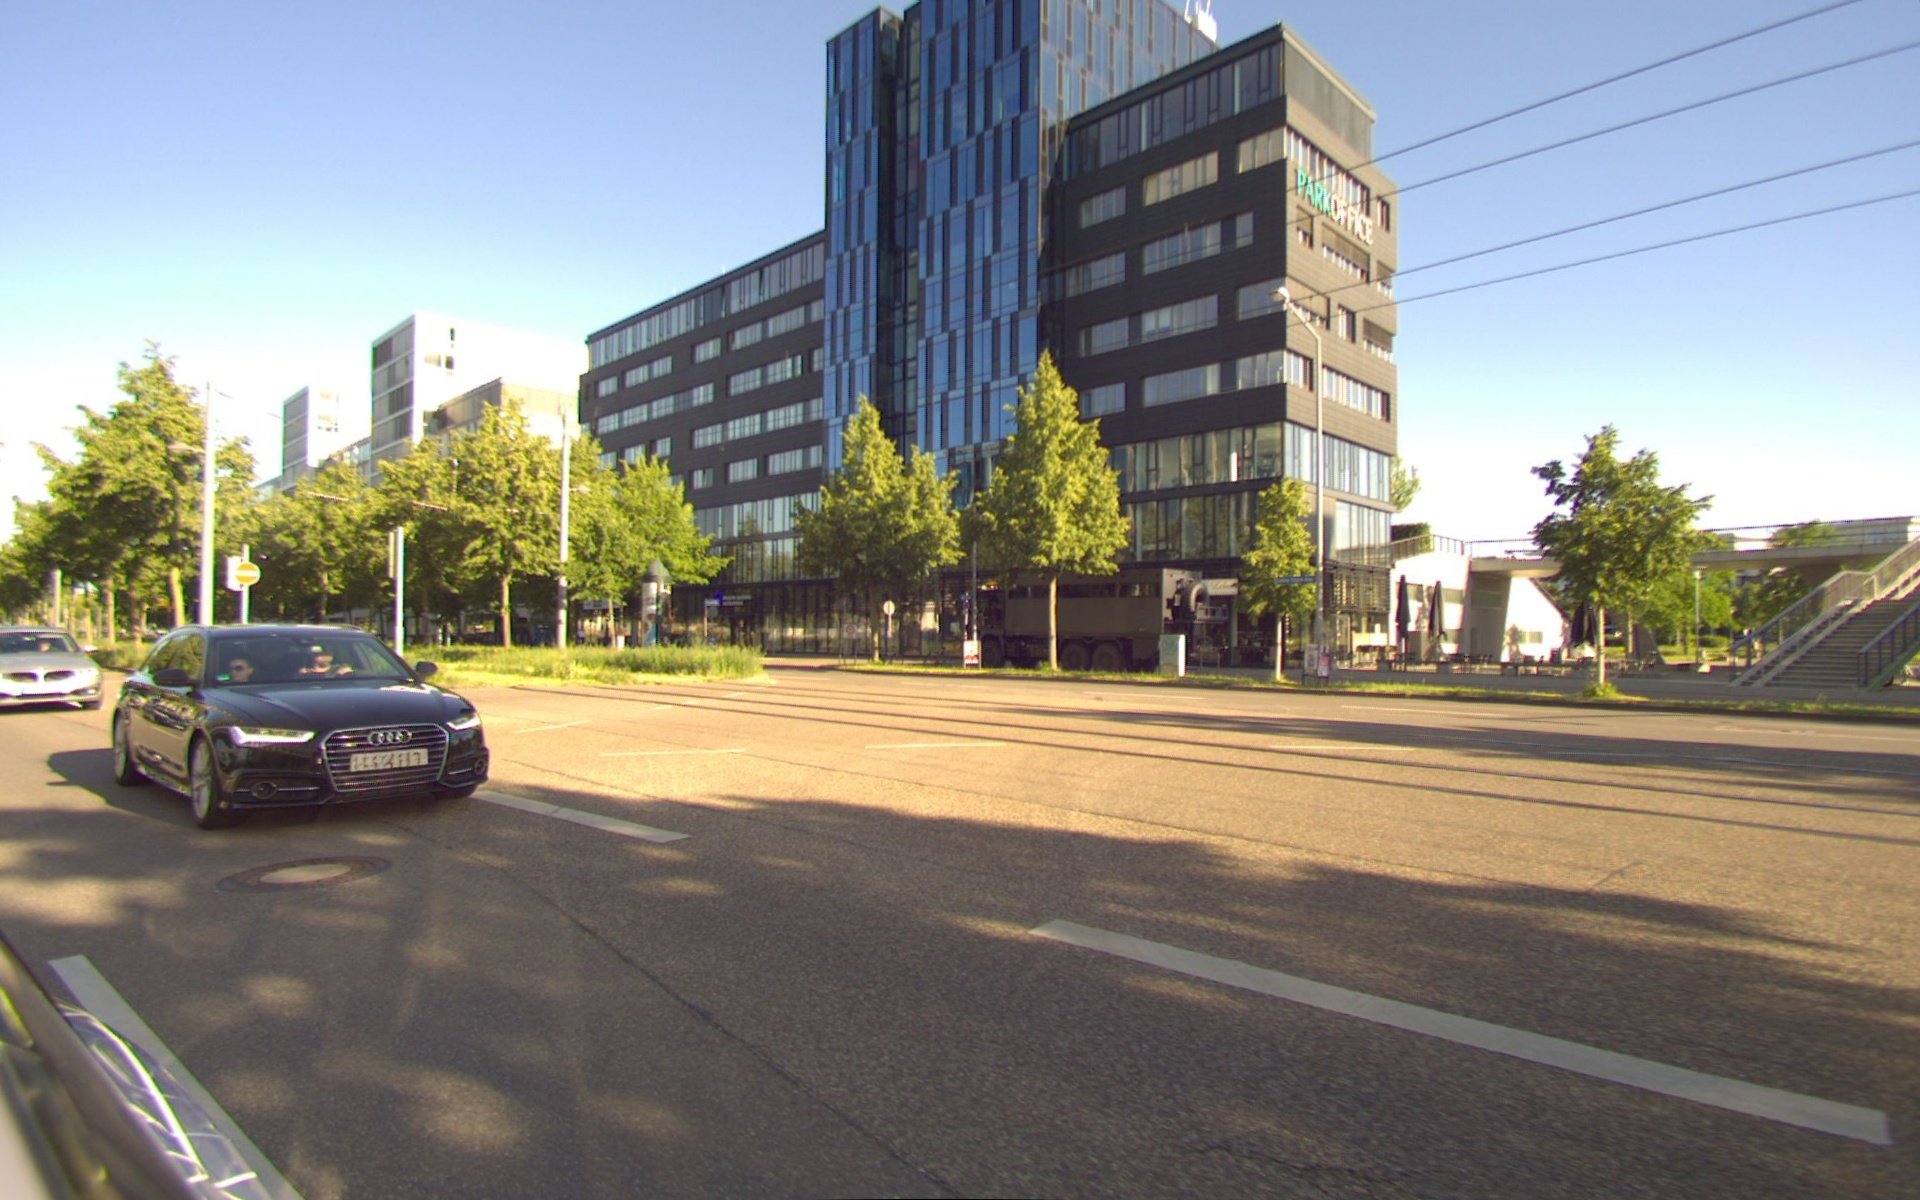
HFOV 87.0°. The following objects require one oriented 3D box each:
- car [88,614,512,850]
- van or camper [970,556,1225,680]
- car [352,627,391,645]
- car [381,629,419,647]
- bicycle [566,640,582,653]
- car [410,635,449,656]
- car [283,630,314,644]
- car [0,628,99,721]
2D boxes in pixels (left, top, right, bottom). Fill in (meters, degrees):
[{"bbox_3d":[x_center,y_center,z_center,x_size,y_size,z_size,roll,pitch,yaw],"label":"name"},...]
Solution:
[{"bbox_3d":[-5.686,0.877,8.474,4.505,1.468,1.789,-1,-2,41],"label":"car"},{"bbox_3d":[4.972,0.715,39.114,2.722,4.224,10.235,2,-2,-45],"label":"van or camper"},{"bbox_3d":[-59.810,3.656,102.868,4.790,1.712,1.986,-1,-2,41],"label":"car"},{"bbox_3d":[-52.839,3.544,95.502,4.794,1.697,1.832,-2,-2,45],"label":"car"},{"bbox_3d":[-31.597,3.815,82.758,1.849,1.041,0.521,-1,-1,45],"label":"bicycle"},{"bbox_3d":[-45.959,3.947,87.668,4.002,1.762,1.832,-2,-3,45],"label":"car"},{"bbox_3d":[-79.868,4.444,122.166,4.793,1.712,1.984,-2,-2,44],"label":"car"},{"bbox_3d":[-17.029,1.264,18.262,4.743,1.500,1.788,-2,-2,44],"label":"car"}]
